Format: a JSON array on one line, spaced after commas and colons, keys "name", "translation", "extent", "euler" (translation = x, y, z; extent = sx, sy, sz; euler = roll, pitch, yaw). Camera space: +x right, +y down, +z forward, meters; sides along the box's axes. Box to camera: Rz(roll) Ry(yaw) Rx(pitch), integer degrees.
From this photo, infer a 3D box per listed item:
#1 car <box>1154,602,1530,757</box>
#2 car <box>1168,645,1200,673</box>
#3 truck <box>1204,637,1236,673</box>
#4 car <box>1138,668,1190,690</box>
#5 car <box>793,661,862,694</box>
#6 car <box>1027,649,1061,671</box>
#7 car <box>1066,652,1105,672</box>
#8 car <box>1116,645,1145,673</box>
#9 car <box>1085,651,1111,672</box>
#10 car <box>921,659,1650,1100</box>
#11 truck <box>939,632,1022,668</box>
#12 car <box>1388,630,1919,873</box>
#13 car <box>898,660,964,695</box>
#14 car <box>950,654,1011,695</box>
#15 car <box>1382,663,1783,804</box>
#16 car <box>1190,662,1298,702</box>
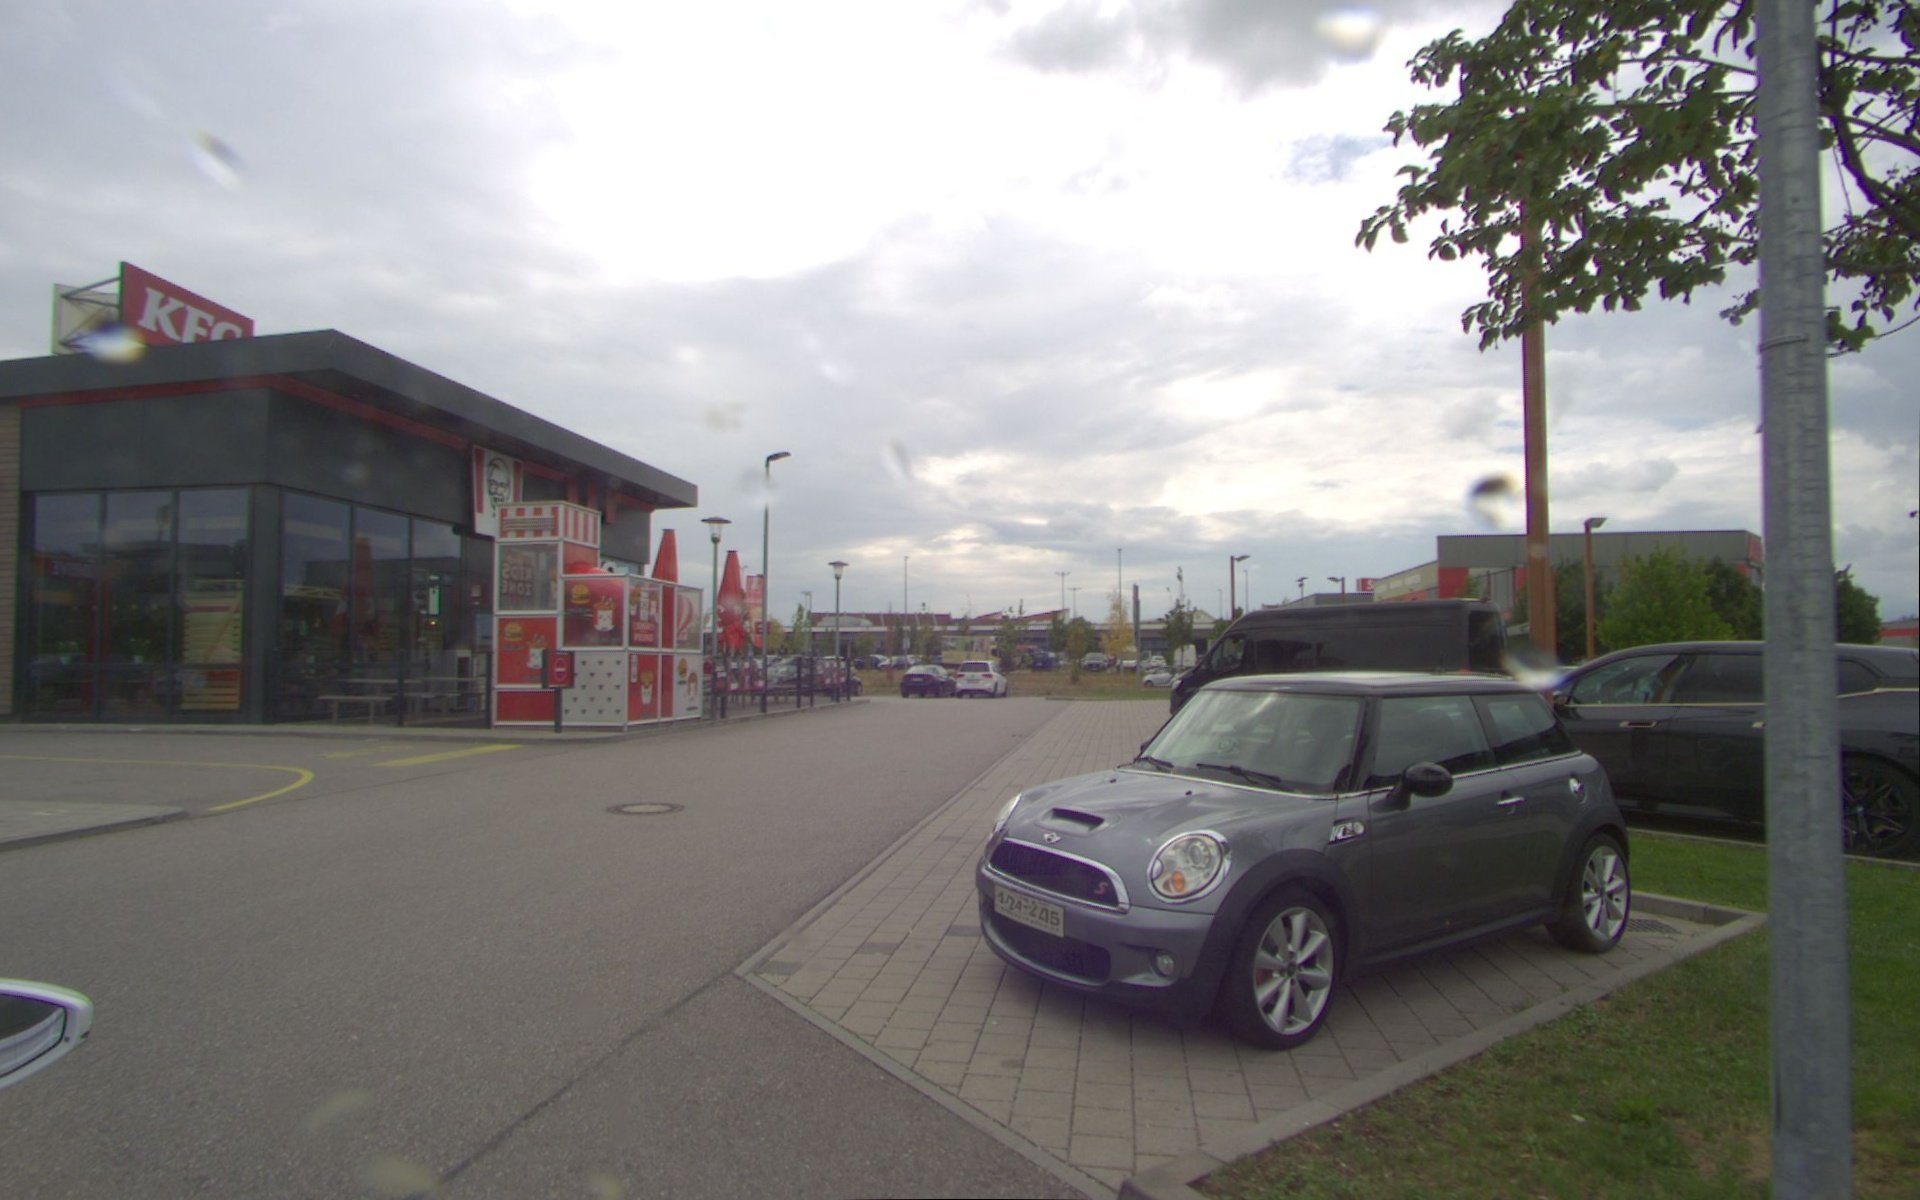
[{"name": "car", "translation": [7.278, 1.476, 20.051], "extent": [2.051, 2.584, 6.957], "euler": [4, -4, -39]}, {"name": "car", "translation": [19.561, 5.121, 87.873], "extent": [2.300, 2.296, 6.507], "euler": [0, -2, 9]}, {"name": "truck", "translation": [27.879, 5.825, 107.526], "extent": [2.606, 3.791, 8.256], "euler": [0, -2, 10]}, {"name": "car", "translation": [14.063, 5.439, 69.041], "extent": [3.396, 1.388, 1.432], "euler": [-1, -2, 15]}, {"name": "car", "translation": [-6.152, 3.670, 47.016], "extent": [1.853, 1.428, 4.073], "euler": [0, -5, 13]}, {"name": "car", "translation": [7.696, 5.436, 91.179], "extent": [2.040, 1.907, 5.068], "euler": [0, -3, 17]}, {"name": "car", "translation": [13.137, 6.431, 104.811], "extent": [3.922, 2.039, 2.001], "euler": [0, -2, 4]}, {"name": "car", "translation": [15.206, 5.196, 89.034], "extent": [2.370, 2.242, 6.058], "euler": [0, -2, 11]}, {"name": "car", "translation": [12.311, 5.456, 89.289], "extent": [2.038, 1.659, 5.069], "euler": [0, -2, 11]}, {"name": "car", "translation": [1.703, 1.030, 4.973], "extent": [3.479, 1.393, 1.601], "euler": [1, -2, -32]}, {"name": "truck", "translation": [1.838, 4.595, 93.316], "extent": [2.997, 3.236, 8.361], "euler": [1, -2, -41]}, {"name": "car", "translation": [6.721, 1.168, 9.137], "extent": [1.977, 1.749, 4.860], "euler": [1, -3, -38]}, {"name": "car", "translation": [-1.273, 3.591, 45.765], "extent": [1.911, 1.483, 4.519], "euler": [0, -5, 13]}, {"name": "car", "translation": [0.996, 3.408, 45.277], "extent": [1.955, 1.733, 4.376], "euler": [0, -5, 12]}, {"name": "car", "translation": [7.629, 1.543, 12.548], "extent": [1.816, 1.429, 3.962], "euler": [4, -5, -43]}, {"name": "car", "translation": [11.354, 3.260, 40.224], "extent": [1.671, 1.429, 3.896], "euler": [4, -4, -42]}]
